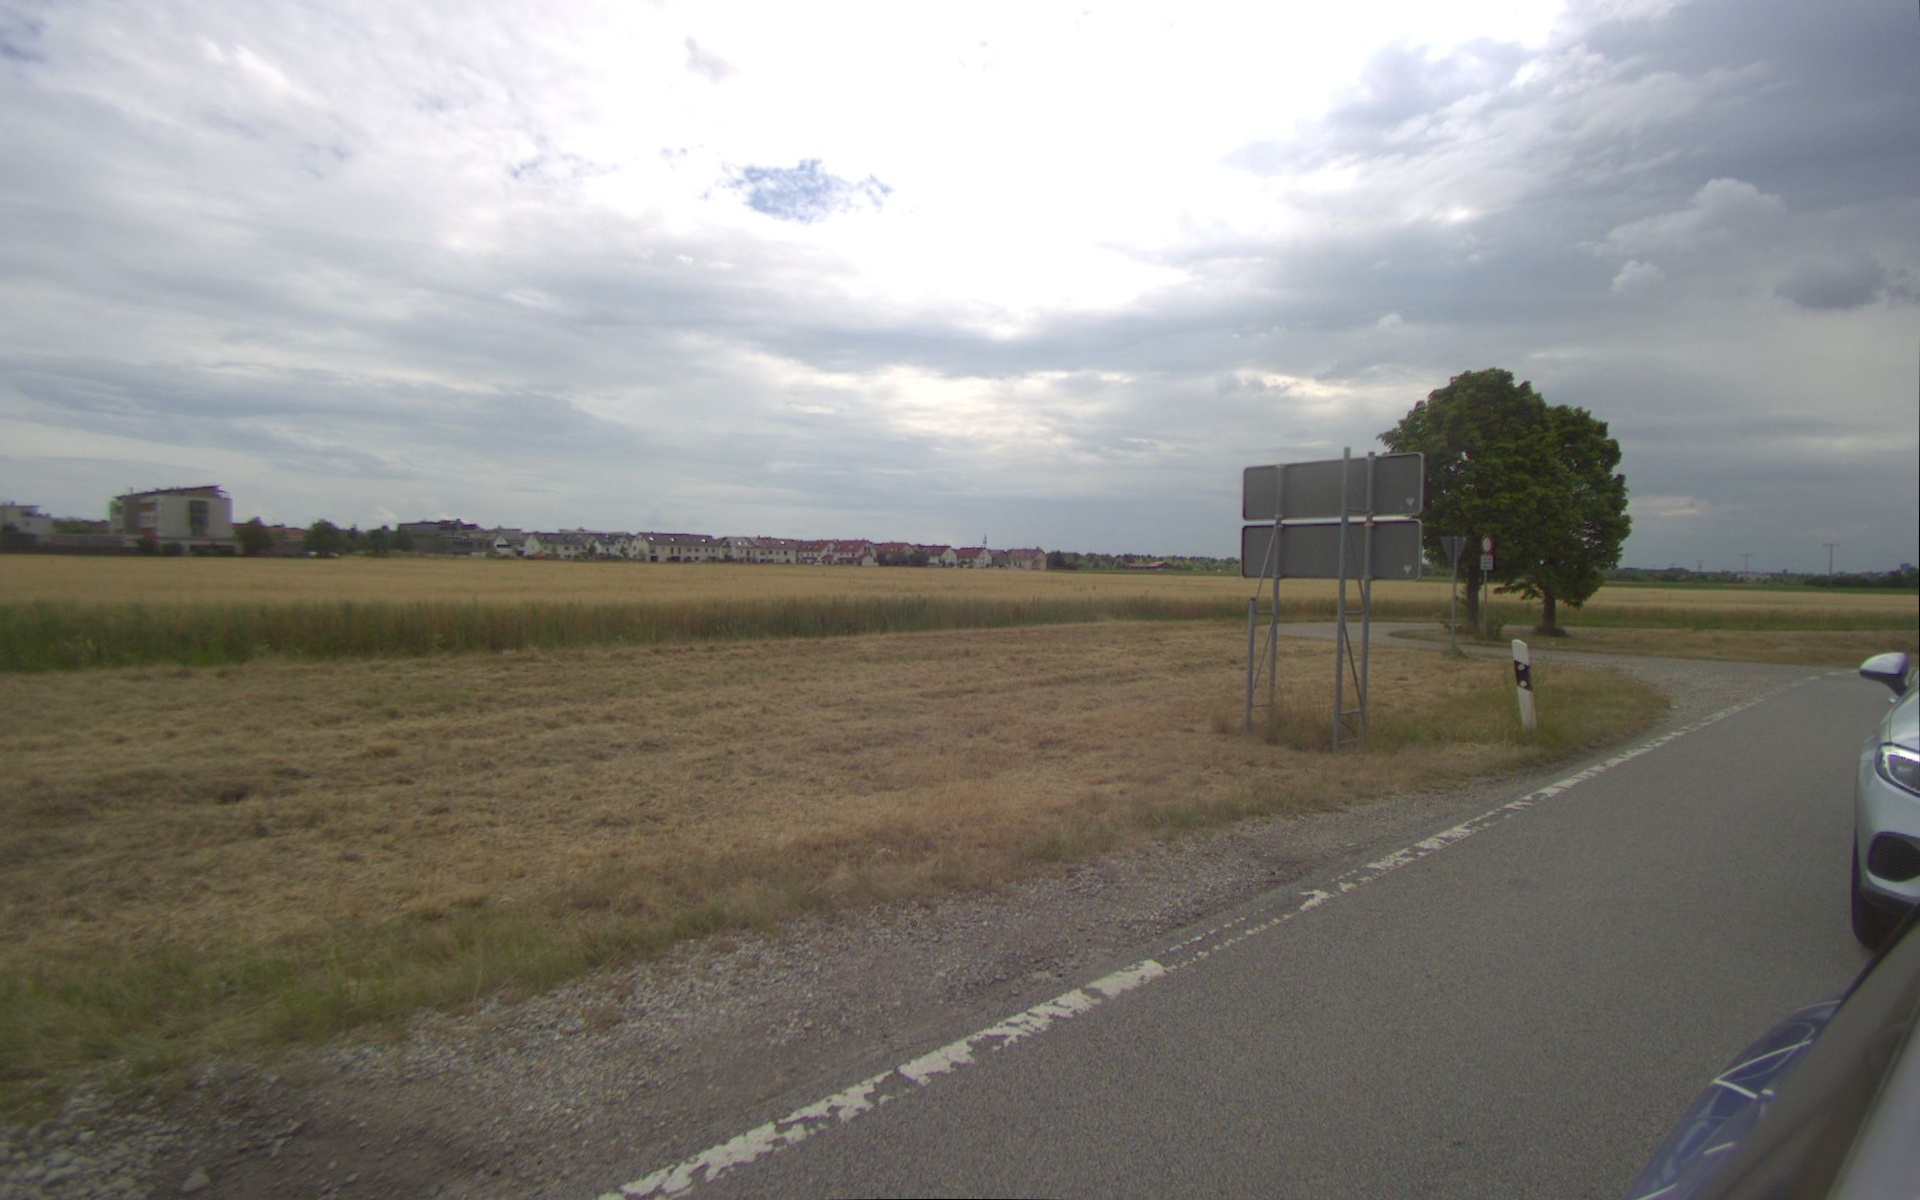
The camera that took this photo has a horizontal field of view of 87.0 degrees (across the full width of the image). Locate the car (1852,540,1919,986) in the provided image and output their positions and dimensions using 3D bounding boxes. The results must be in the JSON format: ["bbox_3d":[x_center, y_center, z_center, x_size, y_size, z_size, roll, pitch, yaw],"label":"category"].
[{"bbox_3d":[5.547,0.599,4.618,4.376,1.606,1.834,0,1,-44],"label":"car"}]
